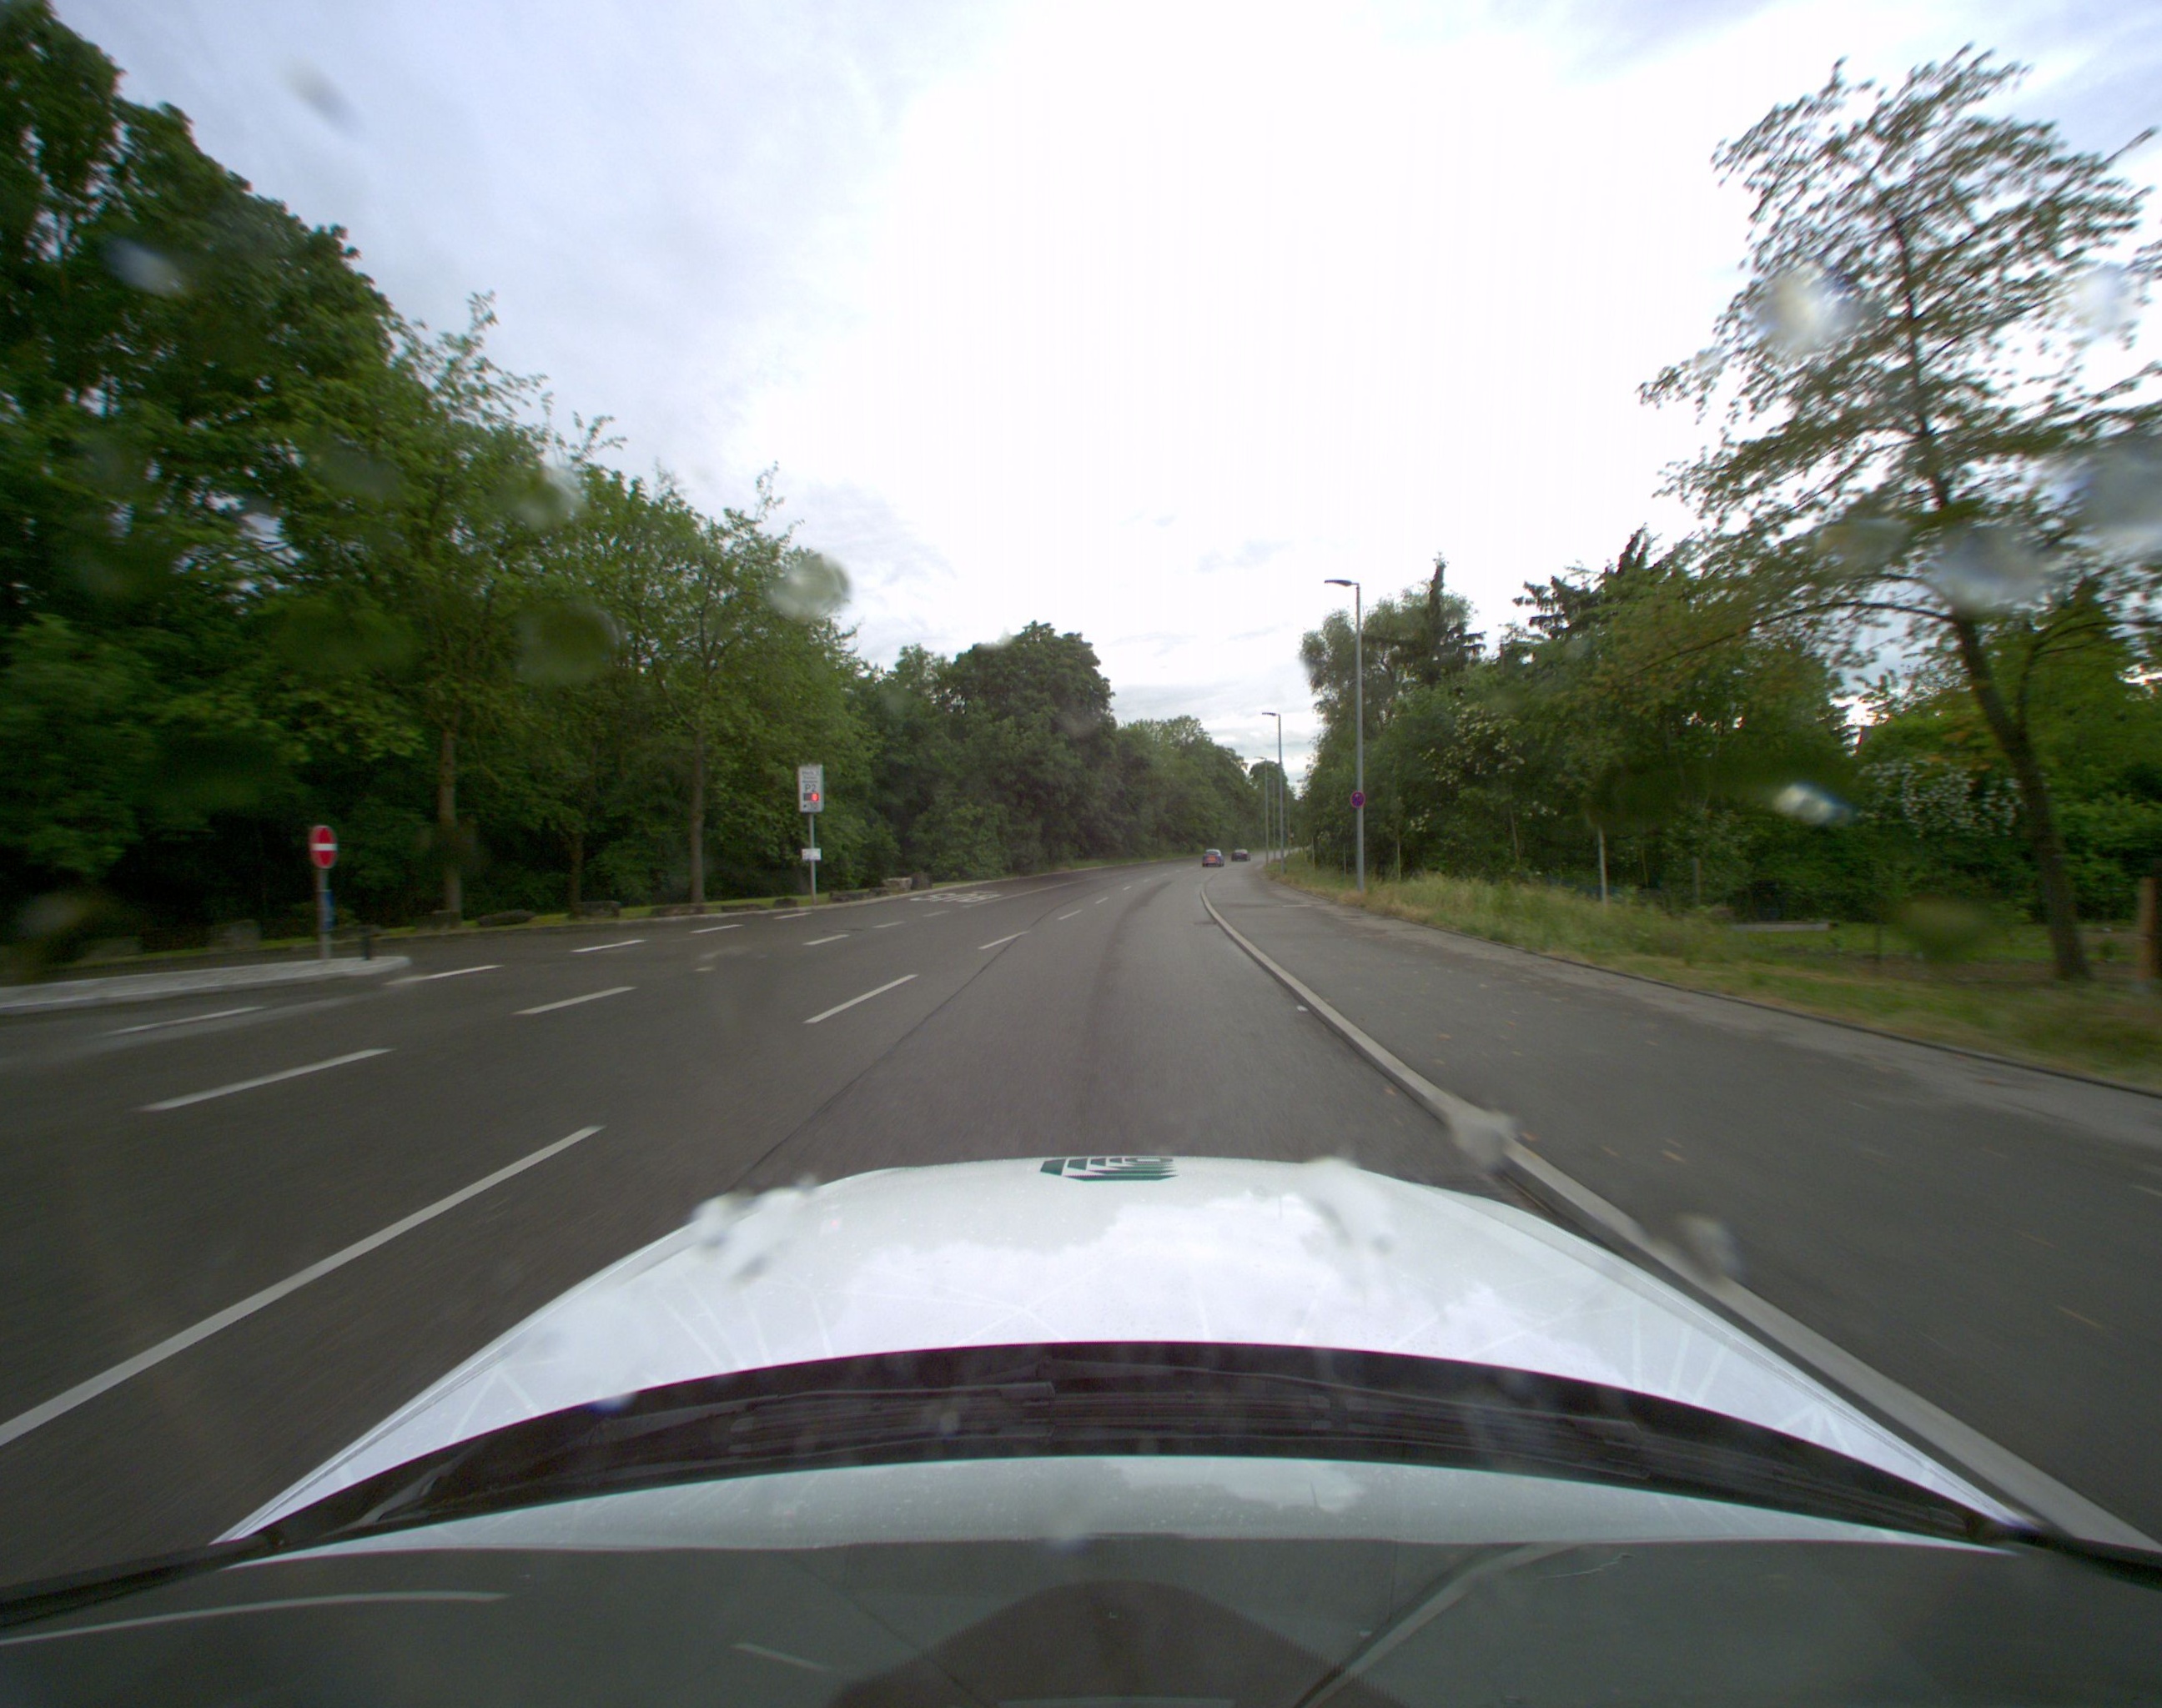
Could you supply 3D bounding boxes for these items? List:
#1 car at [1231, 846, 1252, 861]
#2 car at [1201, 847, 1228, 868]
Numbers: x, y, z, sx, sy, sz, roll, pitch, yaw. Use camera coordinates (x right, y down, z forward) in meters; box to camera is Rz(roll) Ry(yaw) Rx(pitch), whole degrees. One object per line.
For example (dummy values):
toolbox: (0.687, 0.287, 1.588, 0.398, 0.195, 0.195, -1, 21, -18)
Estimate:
car: (18.992, -0.053, 96.299, 1.912, 1.486, 3.818, -2, 2, 18)
car: (12.356, 0.335, 75.408, 1.978, 1.689, 4.018, -2, 2, 16)
